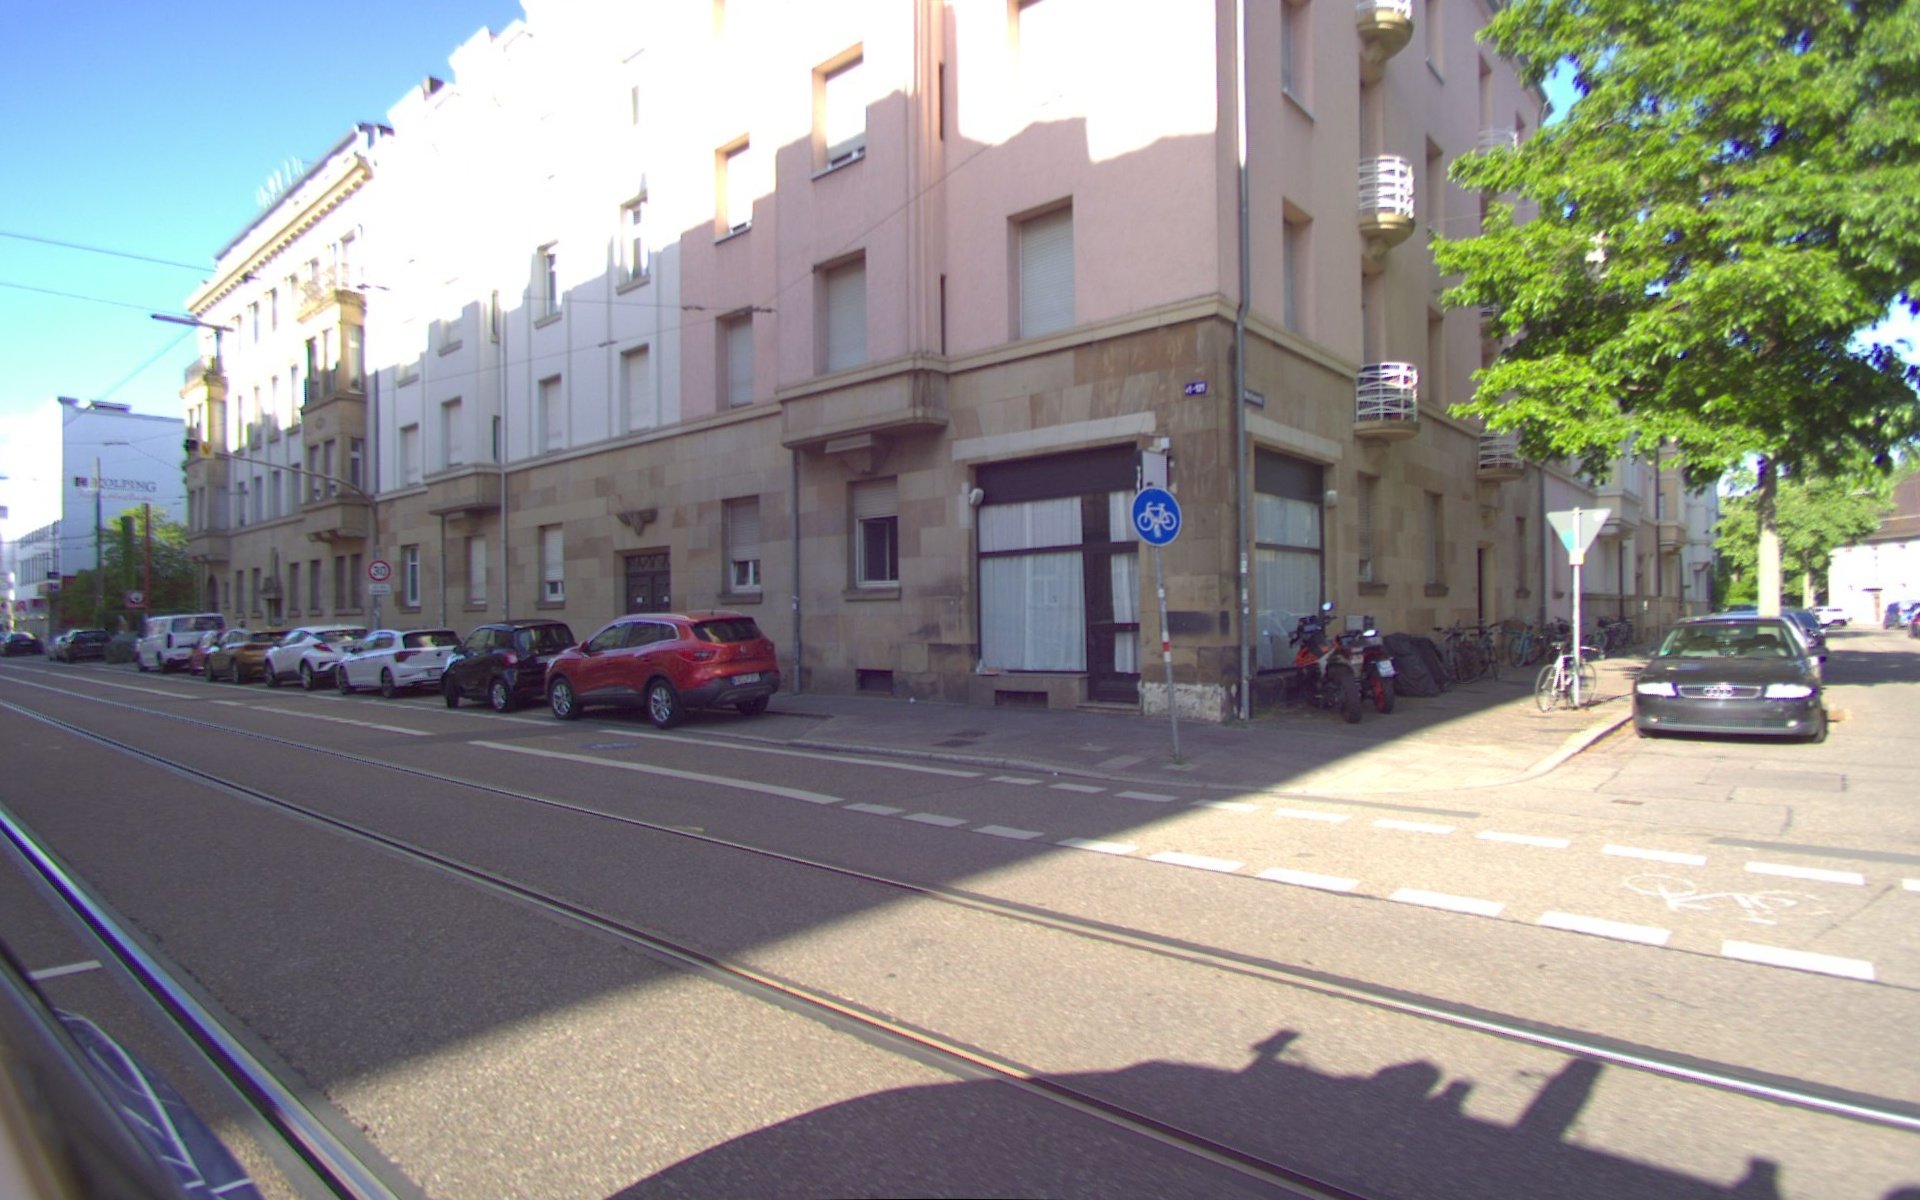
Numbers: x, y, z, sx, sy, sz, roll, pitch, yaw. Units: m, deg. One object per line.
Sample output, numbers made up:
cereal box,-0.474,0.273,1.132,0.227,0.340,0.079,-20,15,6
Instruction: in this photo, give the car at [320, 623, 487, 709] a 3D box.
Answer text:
car,-12.406,1.412,22.460,4.175,1.634,1.766,-2,1,39

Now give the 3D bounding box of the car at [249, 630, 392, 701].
car,-16.328,1.615,25.756,4.361,1.558,1.754,-2,1,39

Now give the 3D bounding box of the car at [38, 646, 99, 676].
car,-45.453,3.084,51.559,4.219,1.323,1.765,-2,1,41

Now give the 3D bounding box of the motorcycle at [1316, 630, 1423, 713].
motorcycle,5.687,0.955,14.177,0.549,1.043,2.037,-1,-1,-3

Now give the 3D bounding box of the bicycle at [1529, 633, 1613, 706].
bicycle,8.727,0.966,14.437,1.763,0.940,0.476,-1,-1,-41

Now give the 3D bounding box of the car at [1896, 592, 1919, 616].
car,67.541,0.260,71.531,1.781,1.590,3.946,-4,-2,40

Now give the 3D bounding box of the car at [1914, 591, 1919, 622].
car,49.180,0.287,50.630,1.781,1.590,3.946,-4,-2,40

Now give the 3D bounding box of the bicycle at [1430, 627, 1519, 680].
bicycle,9.732,0.995,19.096,2.439,0.940,0.615,2,-3,-41

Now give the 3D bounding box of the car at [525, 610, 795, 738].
car,-4.685,1.044,15.500,4.393,1.618,1.766,-2,1,39

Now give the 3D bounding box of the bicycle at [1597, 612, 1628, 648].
bicycle,20.769,0.970,32.193,0.613,1.095,2.446,-2,-3,37

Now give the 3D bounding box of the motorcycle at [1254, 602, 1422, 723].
motorcycle,4.861,0.765,13.194,0.934,1.429,2.032,-1,-1,-19

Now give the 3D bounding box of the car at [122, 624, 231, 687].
car,-27.796,1.922,35.852,5.248,1.963,1.953,-2,1,40

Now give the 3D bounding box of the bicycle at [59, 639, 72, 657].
bicycle,-60.578,3.244,68.524,2.050,1.183,0.435,-2,0,42

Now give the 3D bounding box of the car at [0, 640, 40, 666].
car,-59.685,3.293,63.917,4.839,1.456,1.765,-2,1,42

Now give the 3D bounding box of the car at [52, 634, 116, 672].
car,-41.475,2.471,47.873,4.610,1.577,1.764,-2,1,43

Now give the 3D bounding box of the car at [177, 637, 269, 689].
car,-23.751,1.991,32.578,3.644,1.483,1.586,-2,1,41

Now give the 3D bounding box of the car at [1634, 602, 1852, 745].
car,9.456,0.775,12.177,1.746,1.405,3.946,-4,-2,40

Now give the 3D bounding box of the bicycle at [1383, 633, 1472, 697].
bicycle,7.617,1.029,16.445,1.763,0.940,0.615,-1,-1,-41

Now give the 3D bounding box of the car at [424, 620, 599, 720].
car,-8.217,1.215,18.485,3.018,1.564,1.765,-2,1,41

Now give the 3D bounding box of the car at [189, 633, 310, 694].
car,-20.513,1.786,29.169,4.357,1.535,1.765,-2,1,40

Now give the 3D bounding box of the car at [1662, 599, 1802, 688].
car,13.912,0.727,18.158,1.746,1.405,3.946,-4,-2,40

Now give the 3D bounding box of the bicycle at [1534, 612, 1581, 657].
bicycle,15.316,0.887,25.904,0.614,1.095,2.444,-2,-3,40

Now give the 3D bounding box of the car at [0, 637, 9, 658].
car,-70.763,3.498,73.758,4.444,1.409,1.764,-2,1,43

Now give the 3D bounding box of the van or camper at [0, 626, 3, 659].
van or camper,-76.089,3.341,78.412,6.228,2.485,2.150,-2,1,41

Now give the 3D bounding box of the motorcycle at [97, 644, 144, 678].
motorcycle,-36.342,2.623,43.836,0.871,1.361,1.963,-2,0,-17

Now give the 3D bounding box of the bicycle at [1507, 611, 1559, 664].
bicycle,13.541,0.882,23.891,0.614,1.172,2.444,-2,-3,40

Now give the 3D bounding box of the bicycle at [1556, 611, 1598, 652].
bicycle,17.133,0.883,28.088,0.614,1.095,2.444,-2,-3,40

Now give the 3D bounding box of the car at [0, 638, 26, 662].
car,-64.066,3.350,67.692,4.697,1.492,1.765,-2,1,41
